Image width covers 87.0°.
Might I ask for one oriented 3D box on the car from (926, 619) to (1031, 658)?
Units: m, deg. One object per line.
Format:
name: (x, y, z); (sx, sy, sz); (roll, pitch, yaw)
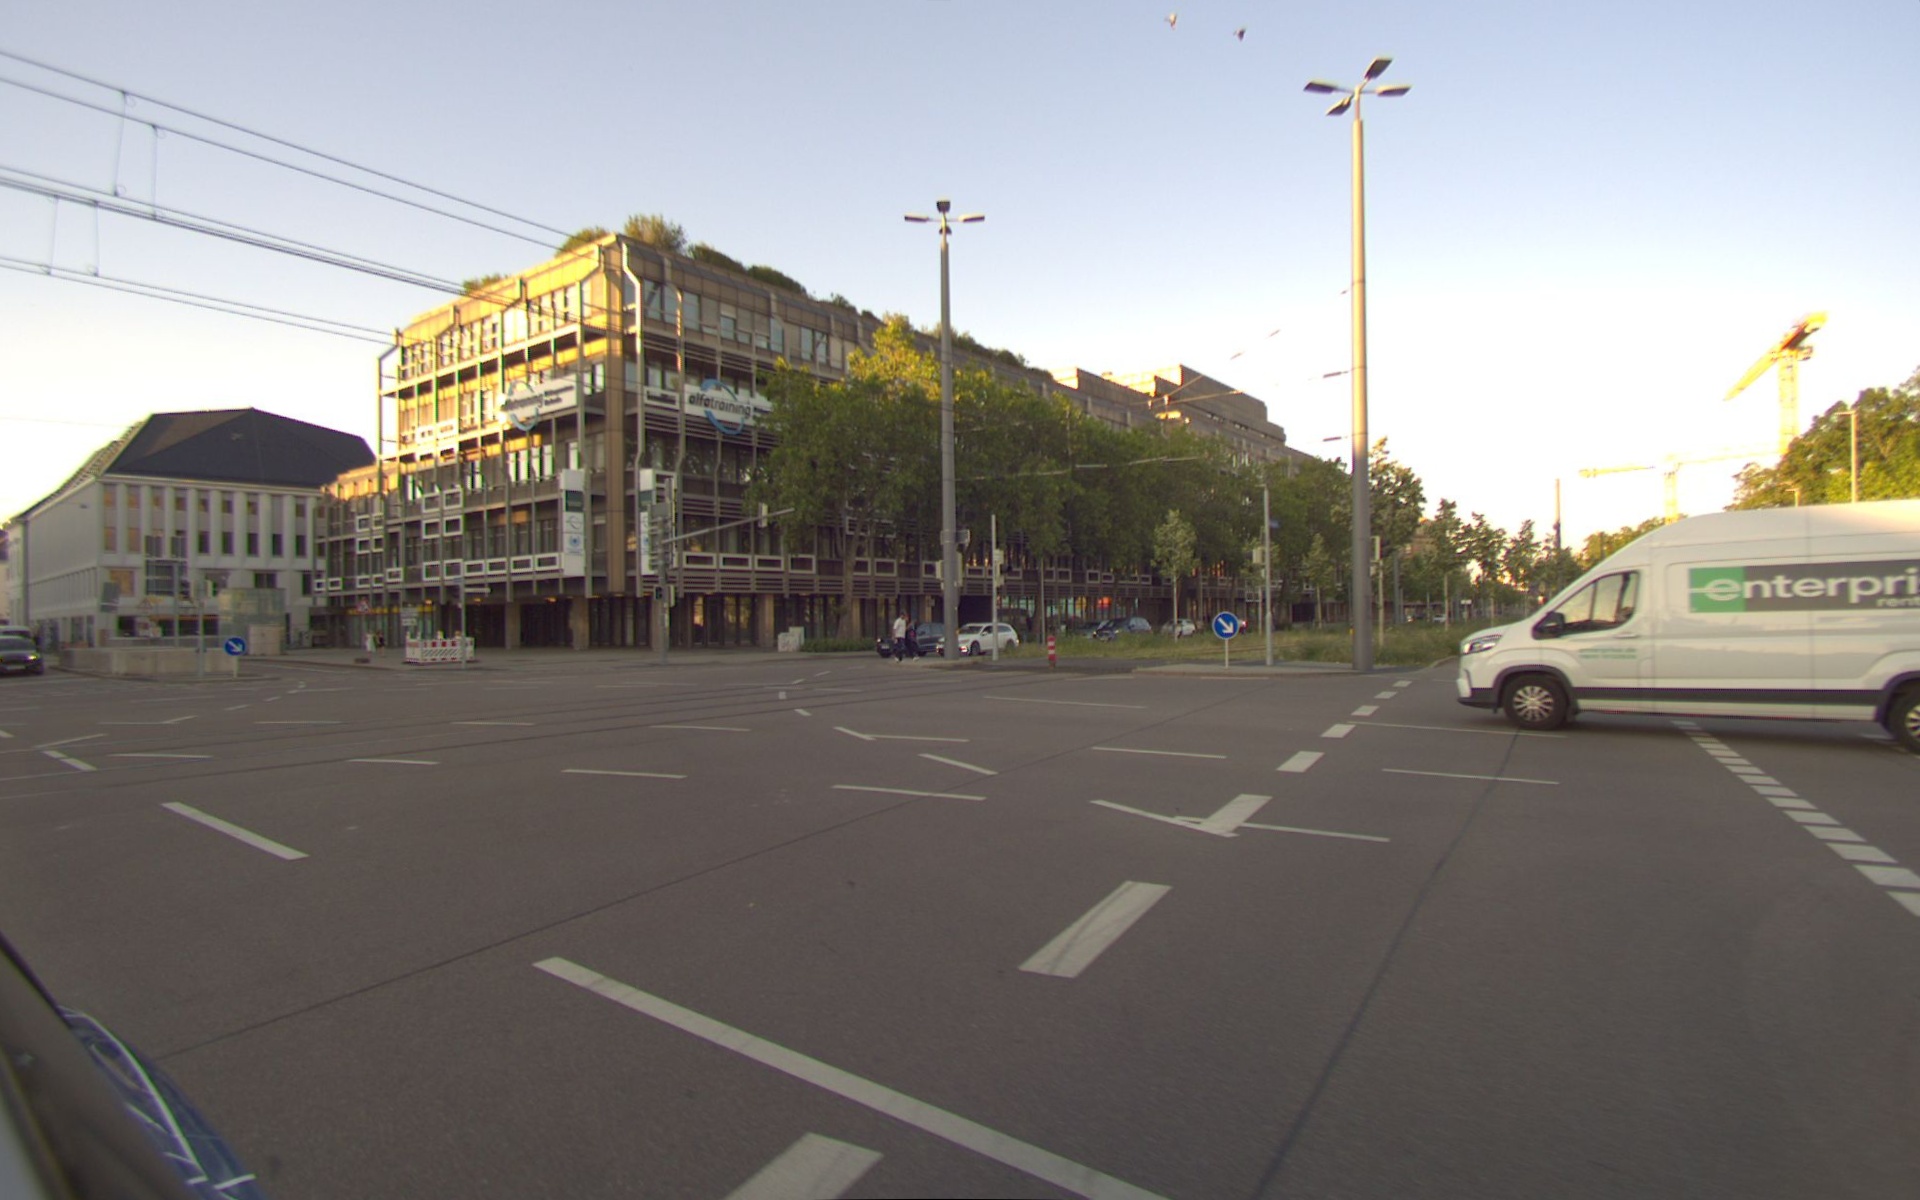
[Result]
car: (0.912, 1.713, 46.097); (1.999, 1.597, 5.094); (-2, -1, 40)

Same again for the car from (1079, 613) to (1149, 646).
car: (8.505, 1.609, 55.614); (2.071, 1.663, 3.947); (-2, -1, 39)

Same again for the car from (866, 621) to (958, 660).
car: (-2.198, 1.879, 47.485); (1.856, 1.663, 4.343); (-2, -2, 39)

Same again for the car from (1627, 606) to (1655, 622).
car: (74.724, 1.533, 110.996); (2.072, 1.663, 3.946); (-1, -1, 41)

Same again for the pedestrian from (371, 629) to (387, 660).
pedestrian: (-32.931, 2.533, 57.376); (0.650, 1.725, 0.643); (-3, -2, 43)

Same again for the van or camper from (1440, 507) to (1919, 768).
van or camper: (9.452, 0.438, 12.265); (6.157, 2.686, 2.204); (-2, -2, 40)

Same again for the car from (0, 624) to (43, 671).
car: (-35.985, 1.750, 37.917); (3.999, 1.663, 2.044); (-1, -1, 42)

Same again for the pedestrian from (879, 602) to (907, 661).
pedestrian: (-2.277, 1.063, 34.304); (0.680, 1.946, 0.636); (-2, -2, 38)

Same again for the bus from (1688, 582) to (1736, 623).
bus: (73.559, 0.266, 99.160); (3.551, 3.743, 8.814); (-1, -1, 36)

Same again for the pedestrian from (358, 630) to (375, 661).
pedestrian: (-33.351, 2.534, 56.851); (0.682, 1.725, 0.637); (-3, -2, 43)
